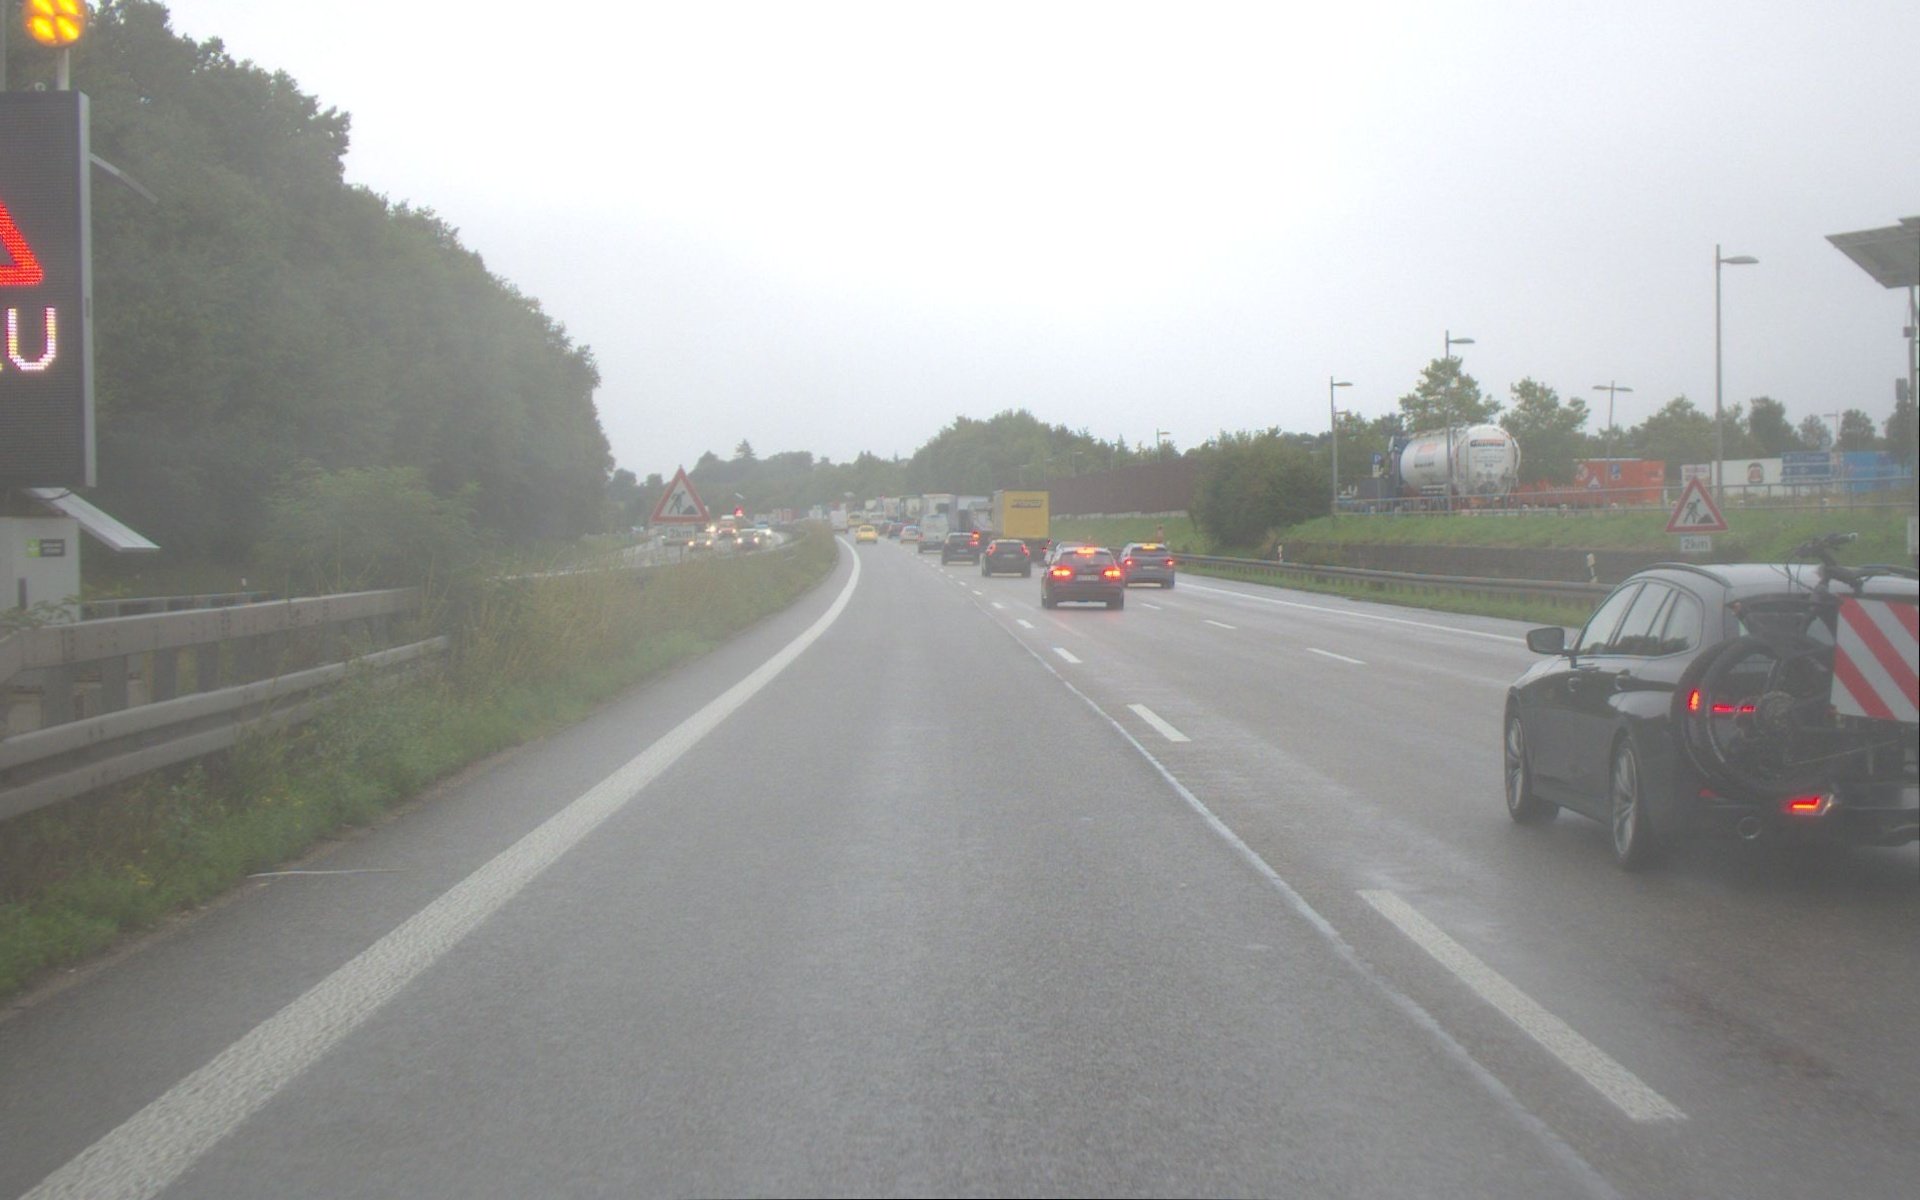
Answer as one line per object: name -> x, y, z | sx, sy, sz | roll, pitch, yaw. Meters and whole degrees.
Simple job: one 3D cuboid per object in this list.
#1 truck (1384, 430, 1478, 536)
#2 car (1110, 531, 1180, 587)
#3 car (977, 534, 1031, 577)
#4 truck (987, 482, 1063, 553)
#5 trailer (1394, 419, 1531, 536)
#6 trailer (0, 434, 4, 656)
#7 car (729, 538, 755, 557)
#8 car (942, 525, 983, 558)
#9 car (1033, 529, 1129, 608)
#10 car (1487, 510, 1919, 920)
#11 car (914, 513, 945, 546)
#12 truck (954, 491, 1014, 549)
truck -> 18.828, -4.646, 137.634 | 2.949, 4.131, 4.922 | -1, 1, 0
car -> 6.007, -1.345, 111.968 | 1.993, 1.755, 4.000 | -1, 1, -1
car -> 1.708, -1.780, 135.629 | 1.993, 1.623, 4.000 | -1, 1, -1
truck -> 3.735, -4.769, 200.658 | 3.924, 3.968, 12.240 | -1, 1, -1
trailer -> 18.945, -4.539, 130.515 | 2.985, 4.142, 12.957 | -1, 1, -1
trailer -> -18.241, -0.974, 53.985 | 2.643, 4.222, 13.912 | -1, 1, -1
car -> -16.239, -3.944, 256.288 | 1.678, 1.393, 4.000 | -1, 1, -1
car -> 0.107, -2.997, 175.795 | 1.993, 1.623, 4.000 | -1, 1, -1
car -> 2.784, -0.743, 80.055 | 1.993, 1.755, 4.000 | -1, 1, -1
car -> 4.046, 0.474, 16.812 | 2.057, 1.666, 5.522 | 1, 0, 0
car -> -2.043, -4.740, 231.192 | 1.993, 2.197, 4.000 | -1, 1, -1
truck -> 1.635, -5.630, 243.128 | 3.924, 3.968, 12.240 | -1, 1, -1
